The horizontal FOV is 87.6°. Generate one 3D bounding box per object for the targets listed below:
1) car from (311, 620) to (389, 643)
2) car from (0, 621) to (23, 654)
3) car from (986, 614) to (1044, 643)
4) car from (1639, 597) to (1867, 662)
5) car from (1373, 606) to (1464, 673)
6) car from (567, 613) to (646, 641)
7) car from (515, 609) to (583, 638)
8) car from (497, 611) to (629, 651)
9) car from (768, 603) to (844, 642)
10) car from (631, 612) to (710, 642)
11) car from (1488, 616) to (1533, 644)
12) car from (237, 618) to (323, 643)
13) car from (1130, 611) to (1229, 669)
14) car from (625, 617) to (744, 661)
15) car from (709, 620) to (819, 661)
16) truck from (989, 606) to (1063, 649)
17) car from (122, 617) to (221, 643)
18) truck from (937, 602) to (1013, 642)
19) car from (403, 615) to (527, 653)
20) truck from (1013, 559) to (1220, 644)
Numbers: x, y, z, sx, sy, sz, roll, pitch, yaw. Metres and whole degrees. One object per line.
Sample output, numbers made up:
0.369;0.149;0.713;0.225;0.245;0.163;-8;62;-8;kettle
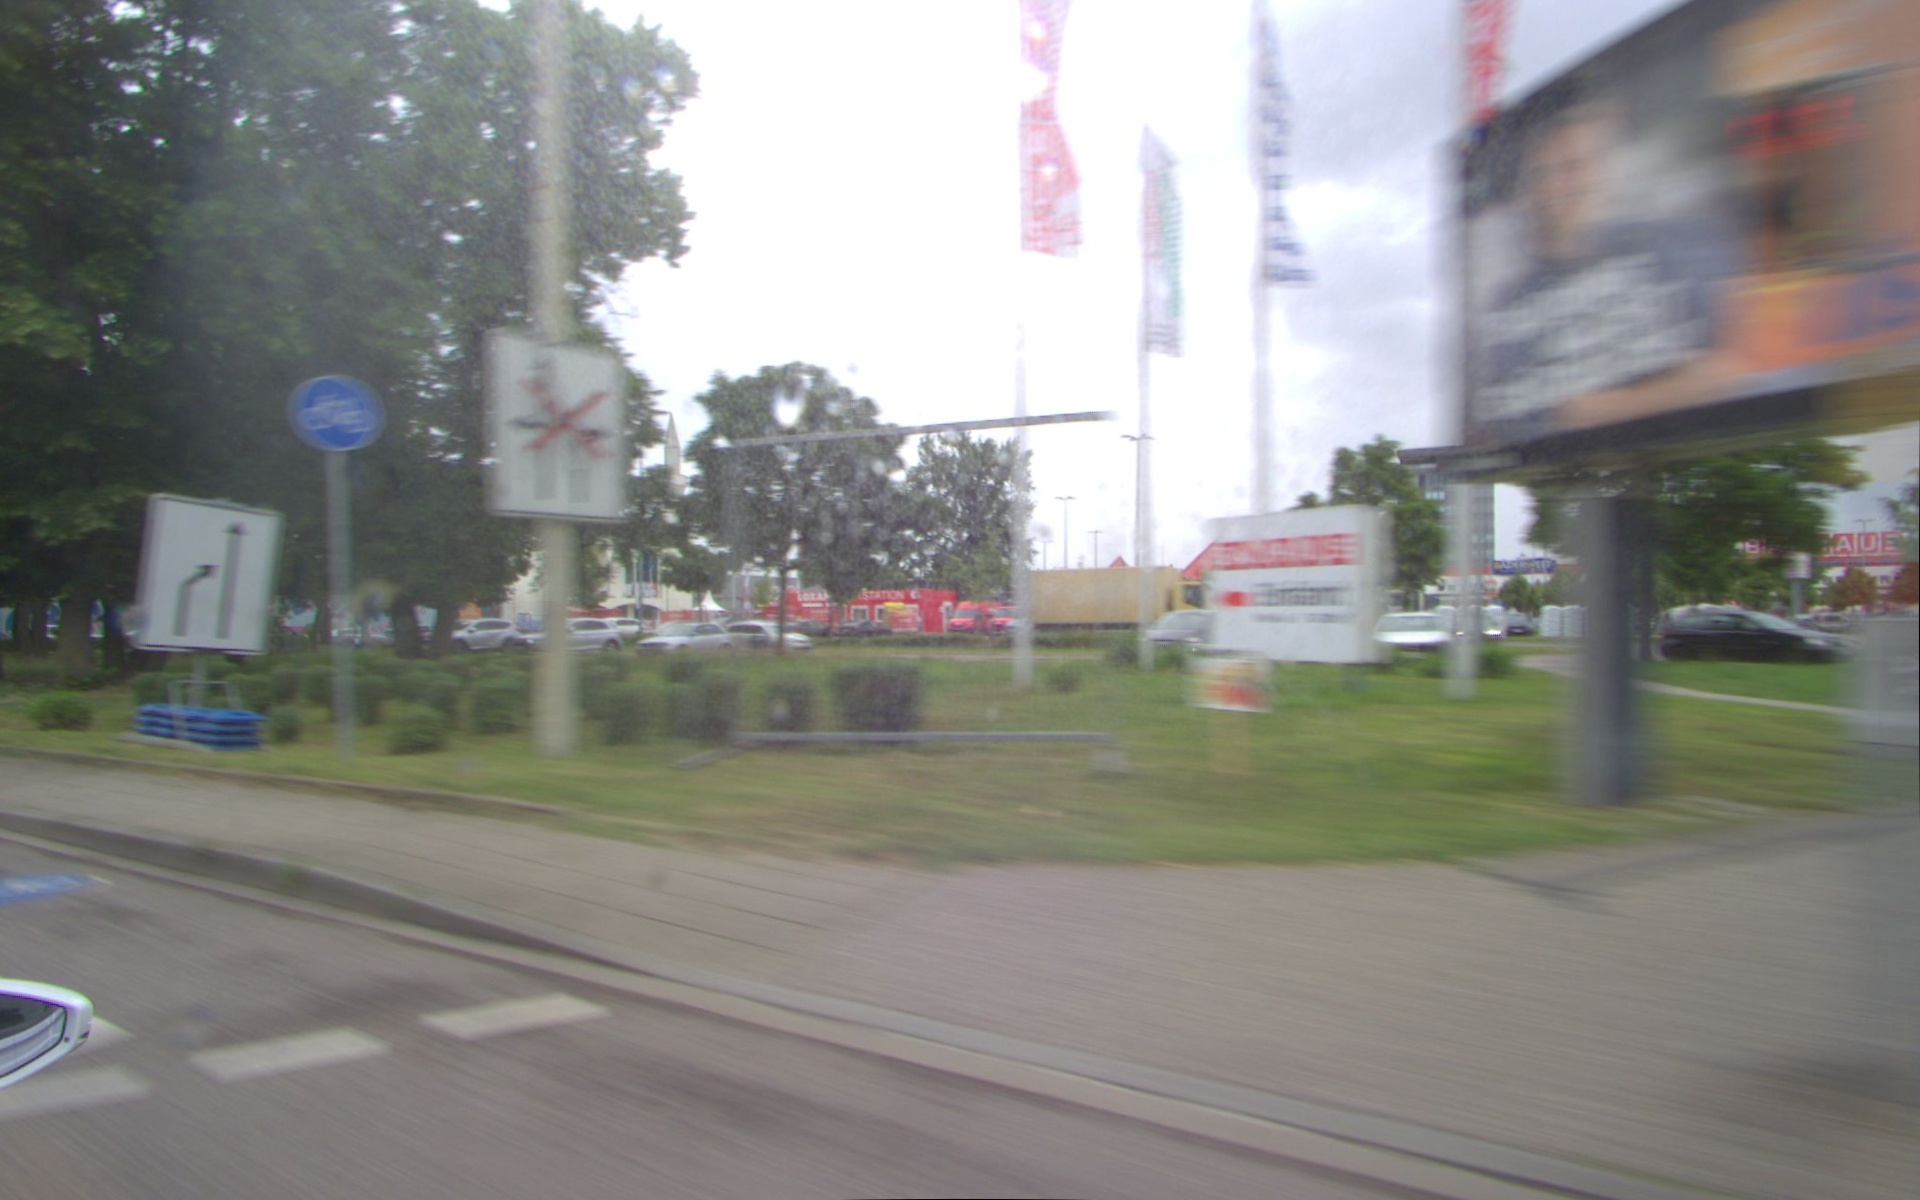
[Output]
-45.474;2.313;74.734;2.041;1.592;4.549;-1;-1;28;car
-55.474;2.097;55.691;2.041;1.813;4.550;0;-1;28;car
3.419;1.727;61.766;2.119;1.699;4.555;-1;-1;23;car
20.091;0.794;25.596;1.798;1.515;4.221;1;-3;-25;car
11.482;1.014;25.089;1.900;1.515;4.224;-1;-3;25;car
-21.829;1.646;62.037;2.119;1.699;4.555;-1;-1;23;car
-37.179;2.088;90.819;2.041;2.570;5.738;-1;-1;28;car
-15.752;1.285;39.982;2.136;1.515;4.675;-1;-3;27;car
-8.584;1.245;56.156;2.119;2.078;4.555;-1;-1;23;car
-17.199;1.561;59.678;2.119;1.699;4.555;-1;-1;23;car
35.082;1.875;63.917;2.119;1.699;4.555;-1;-1;23;car
-47.495;2.102;70.053;2.041;1.592;4.549;-1;-1;28;car
6.362;1.160;28.631;1.899;1.515;4.603;-1;-3;24;car
-10.154;1.484;37.228;1.899;1.515;4.448;-1;-3;24;car
-8.439;1.756;42.998;4.439;1.691;1.992;-2;-3;31;car
4.764;1.878;70.182;2.444;2.853;7.858;-1;-1;25;truck
-50.493;1.904;64.196;2.041;1.592;4.549;-1;-1;28;car
1.190;1.518;71.530;2.444;2.669;7.858;-1;-1;25;truck
-20.901;1.467;42.467;1.927;1.515;4.535;-1;-3;24;car
7.202;0.204;46.708;9.108;3.608;2.938;-1;-3;29;truck
